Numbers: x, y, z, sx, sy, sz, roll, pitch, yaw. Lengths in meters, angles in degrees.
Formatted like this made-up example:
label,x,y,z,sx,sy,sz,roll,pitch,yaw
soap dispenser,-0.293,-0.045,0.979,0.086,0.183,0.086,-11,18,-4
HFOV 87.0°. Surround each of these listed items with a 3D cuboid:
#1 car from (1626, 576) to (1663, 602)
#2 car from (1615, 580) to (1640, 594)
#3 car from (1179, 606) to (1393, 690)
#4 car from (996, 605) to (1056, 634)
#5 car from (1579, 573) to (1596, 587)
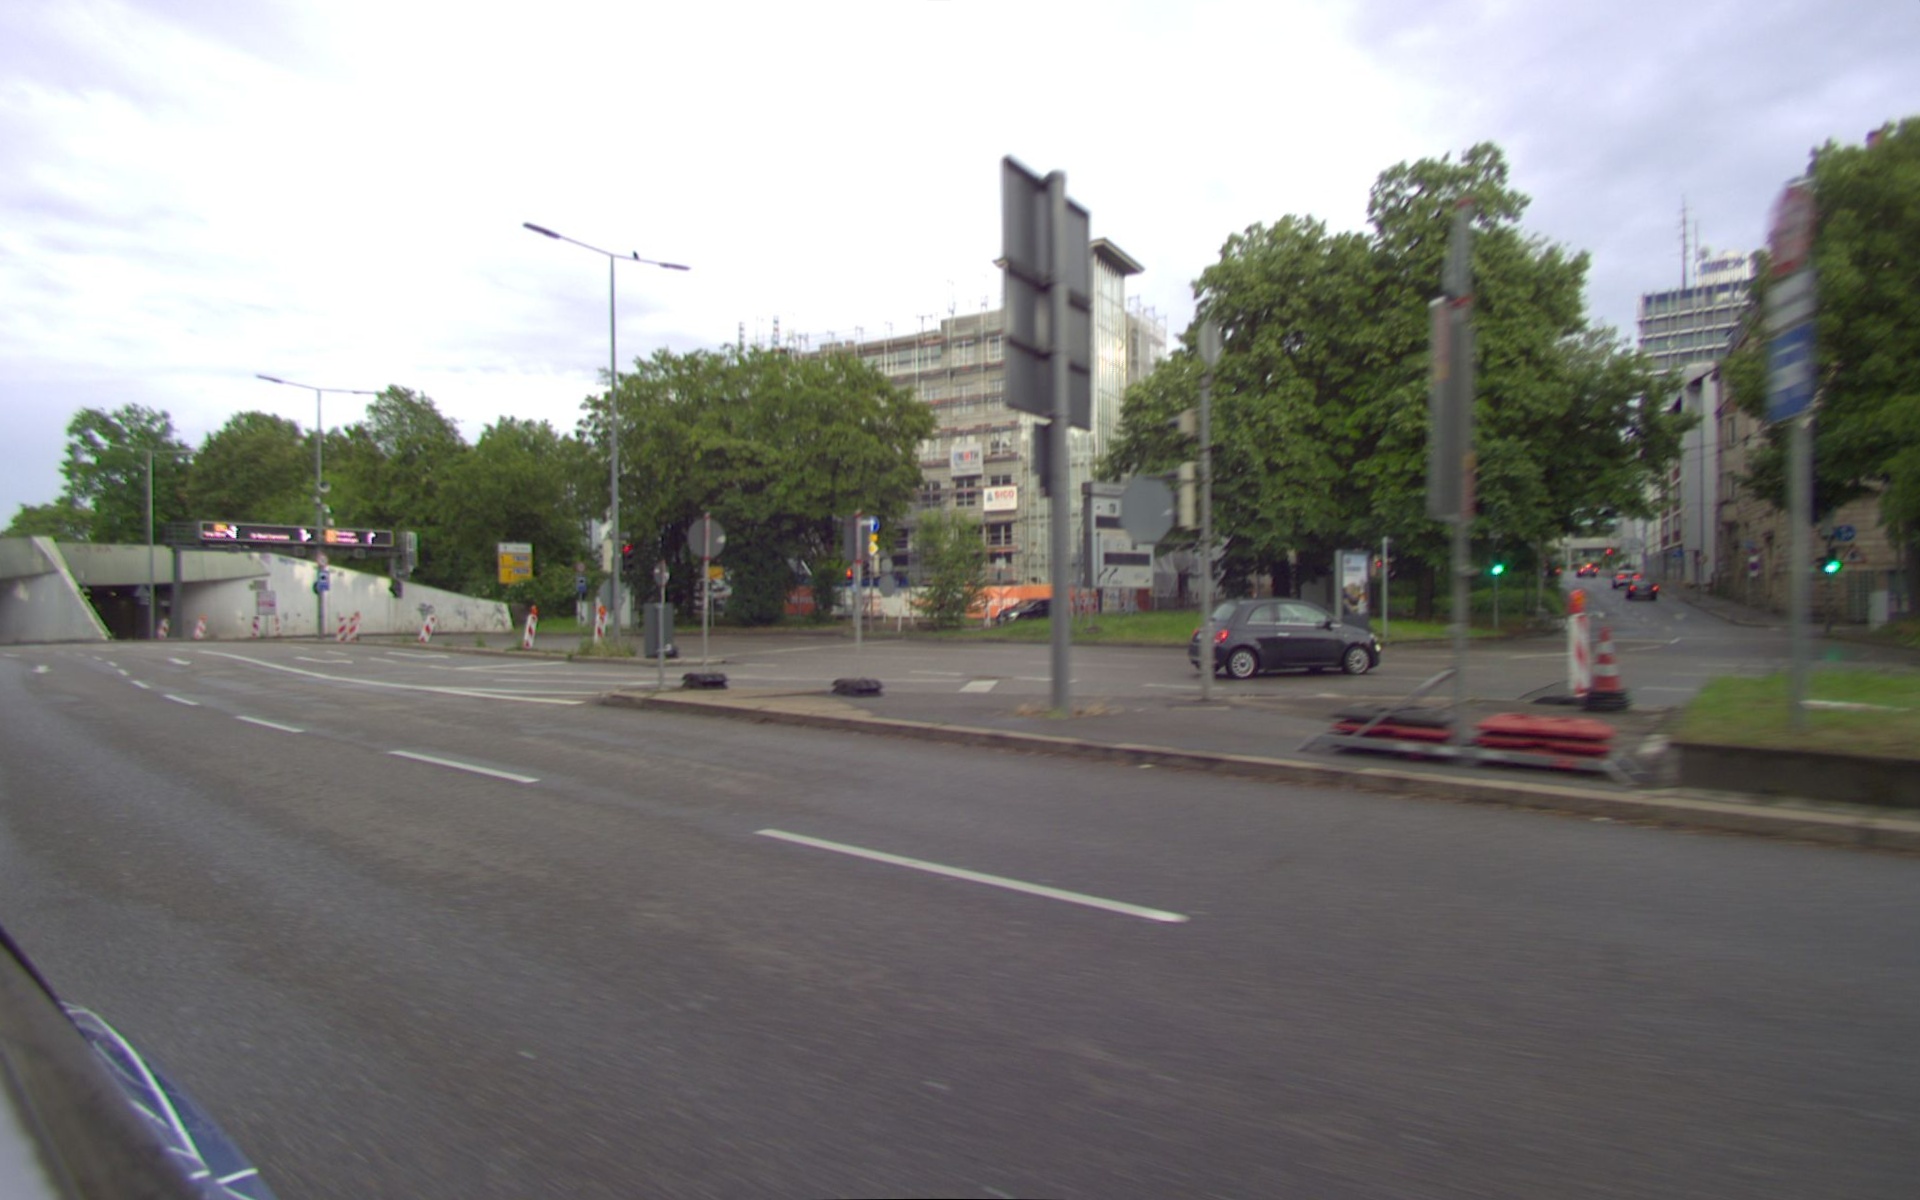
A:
label,x,y,z,sx,sy,sz,roll,pitch,yaw
car,47.074,-0.737,69.643,1.871,1.670,3.467,-1,-1,30
car,57.095,-1.112,86.610,1.585,1.173,3.467,-1,-1,30
car,6.083,0.862,19.052,3.448,1.452,1.594,-1,-1,-9
car,3.398,0.967,51.487,1.465,1.299,3.677,-2,1,31
car,75.189,-2.394,121.311,1.585,1.670,3.467,-1,-1,30
